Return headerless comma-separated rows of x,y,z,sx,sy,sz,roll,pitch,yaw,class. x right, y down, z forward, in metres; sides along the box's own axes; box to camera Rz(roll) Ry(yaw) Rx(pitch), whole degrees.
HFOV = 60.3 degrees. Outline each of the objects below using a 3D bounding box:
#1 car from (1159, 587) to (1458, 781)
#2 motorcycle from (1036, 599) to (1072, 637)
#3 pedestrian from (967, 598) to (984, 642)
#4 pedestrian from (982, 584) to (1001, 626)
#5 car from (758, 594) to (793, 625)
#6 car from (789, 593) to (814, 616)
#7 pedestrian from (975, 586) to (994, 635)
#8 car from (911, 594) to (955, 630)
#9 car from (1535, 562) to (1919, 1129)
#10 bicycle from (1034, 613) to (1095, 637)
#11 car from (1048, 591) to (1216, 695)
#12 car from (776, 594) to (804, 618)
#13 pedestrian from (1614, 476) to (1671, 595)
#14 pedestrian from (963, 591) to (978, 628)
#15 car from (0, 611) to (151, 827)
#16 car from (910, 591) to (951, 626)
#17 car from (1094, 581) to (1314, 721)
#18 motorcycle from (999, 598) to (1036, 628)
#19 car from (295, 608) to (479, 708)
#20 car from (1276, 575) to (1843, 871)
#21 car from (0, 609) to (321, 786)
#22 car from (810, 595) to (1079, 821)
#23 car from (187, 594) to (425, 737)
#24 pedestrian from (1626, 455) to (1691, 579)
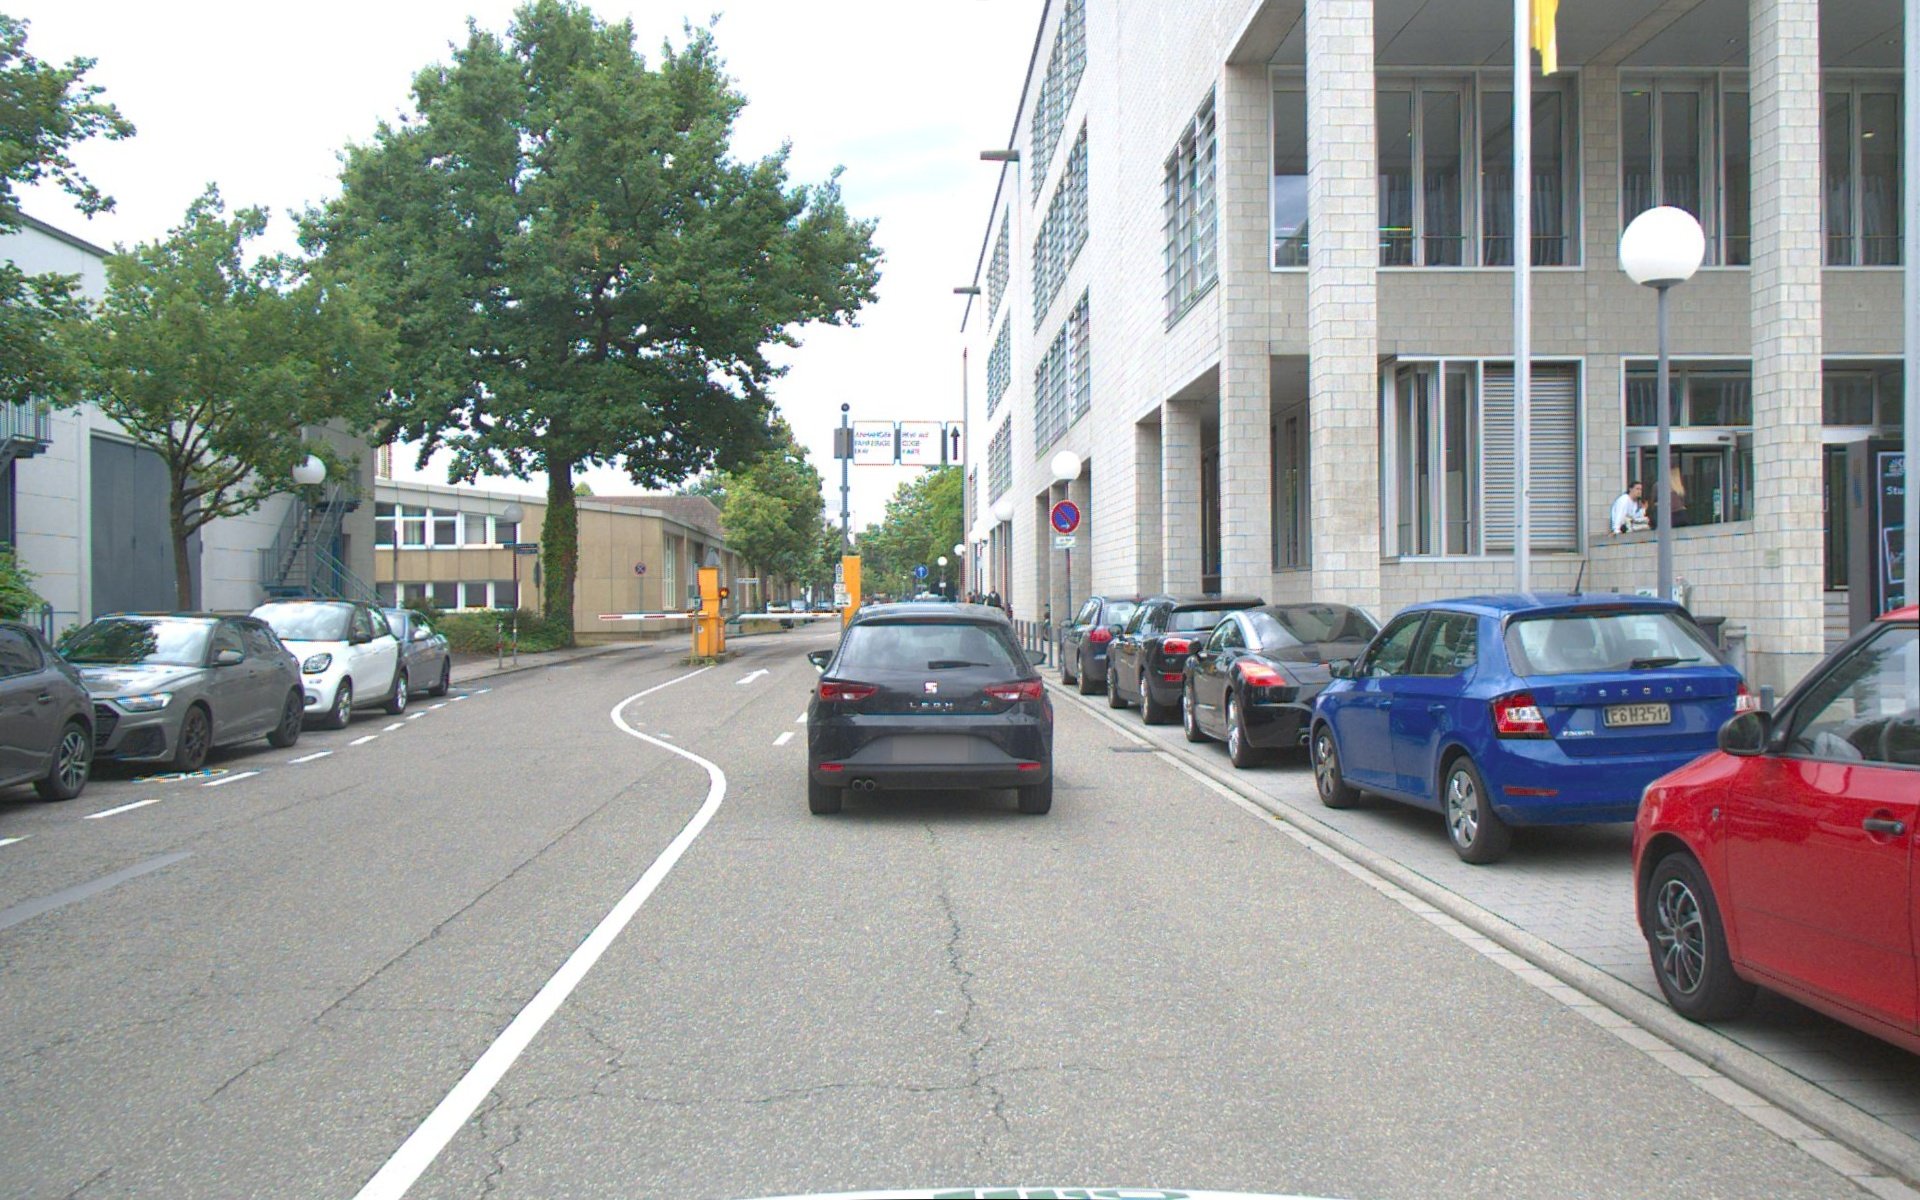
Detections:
3.124,0.669,15.752,1.811,1.467,4.418,-1,2,-1,car
3.165,0.601,55.611,0.554,1.168,2.217,1,2,22,motorcycle
0.625,0.815,67.231,0.675,1.728,0.588,0,2,1,pedestrian
1.318,0.212,68.617,0.714,1.728,0.587,0,2,-8,pedestrian
-10.296,0.514,92.446,1.735,1.629,3.997,-1,0,-4,car
-11.533,0.328,120.699,1.735,1.629,3.996,-1,0,-5,car
0.875,0.369,58.900,0.598,1.744,0.575,-2,0,2,pedestrian
-1.350,0.589,80.868,1.954,1.651,4.425,-2,-1,-3,car
3.408,0.647,4.938,1.678,1.499,4.272,-3,1,-3,car
3.316,0.794,52.438,1.860,0.711,0.492,0,2,-6,bicycle
2.633,0.633,26.462,1.953,1.477,4.920,-1,0,-2,car
-11.833,0.389,115.178,1.735,1.629,3.998,-1,0,-3,car
9.874,-0.937,23.956,0.616,1.687,0.808,1,2,14,pedestrian
0.483,0.447,78.197,0.682,1.744,0.489,0,0,1,pedestrian
-7.613,0.859,11.984,1.726,1.497,3.822,-1,0,-3,car
-1.545,0.434,85.392,1.954,1.651,4.426,-2,0,-2,car
2.897,0.556,20.635,1.782,1.468,4.517,-3,0,-3,car
2.515,0.544,72.180,0.744,1.168,2.663,1,2,22,motorcycle
-8.993,0.855,26.310,1.782,1.413,4.190,0,0,-5,car
3.478,0.631,10.586,1.662,1.436,4.371,-2,0,-6,car
-7.798,0.850,16.222,1.728,1.436,4.005,-1,1,-4,car
-0.203,0.694,12.820,1.747,1.444,4.127,0,0,-3,car
-8.253,0.750,21.225,1.682,1.613,3.875,0,1,-3,car
9.718,-1.152,23.034,0.788,1.687,0.631,1,2,22,pedestrian
